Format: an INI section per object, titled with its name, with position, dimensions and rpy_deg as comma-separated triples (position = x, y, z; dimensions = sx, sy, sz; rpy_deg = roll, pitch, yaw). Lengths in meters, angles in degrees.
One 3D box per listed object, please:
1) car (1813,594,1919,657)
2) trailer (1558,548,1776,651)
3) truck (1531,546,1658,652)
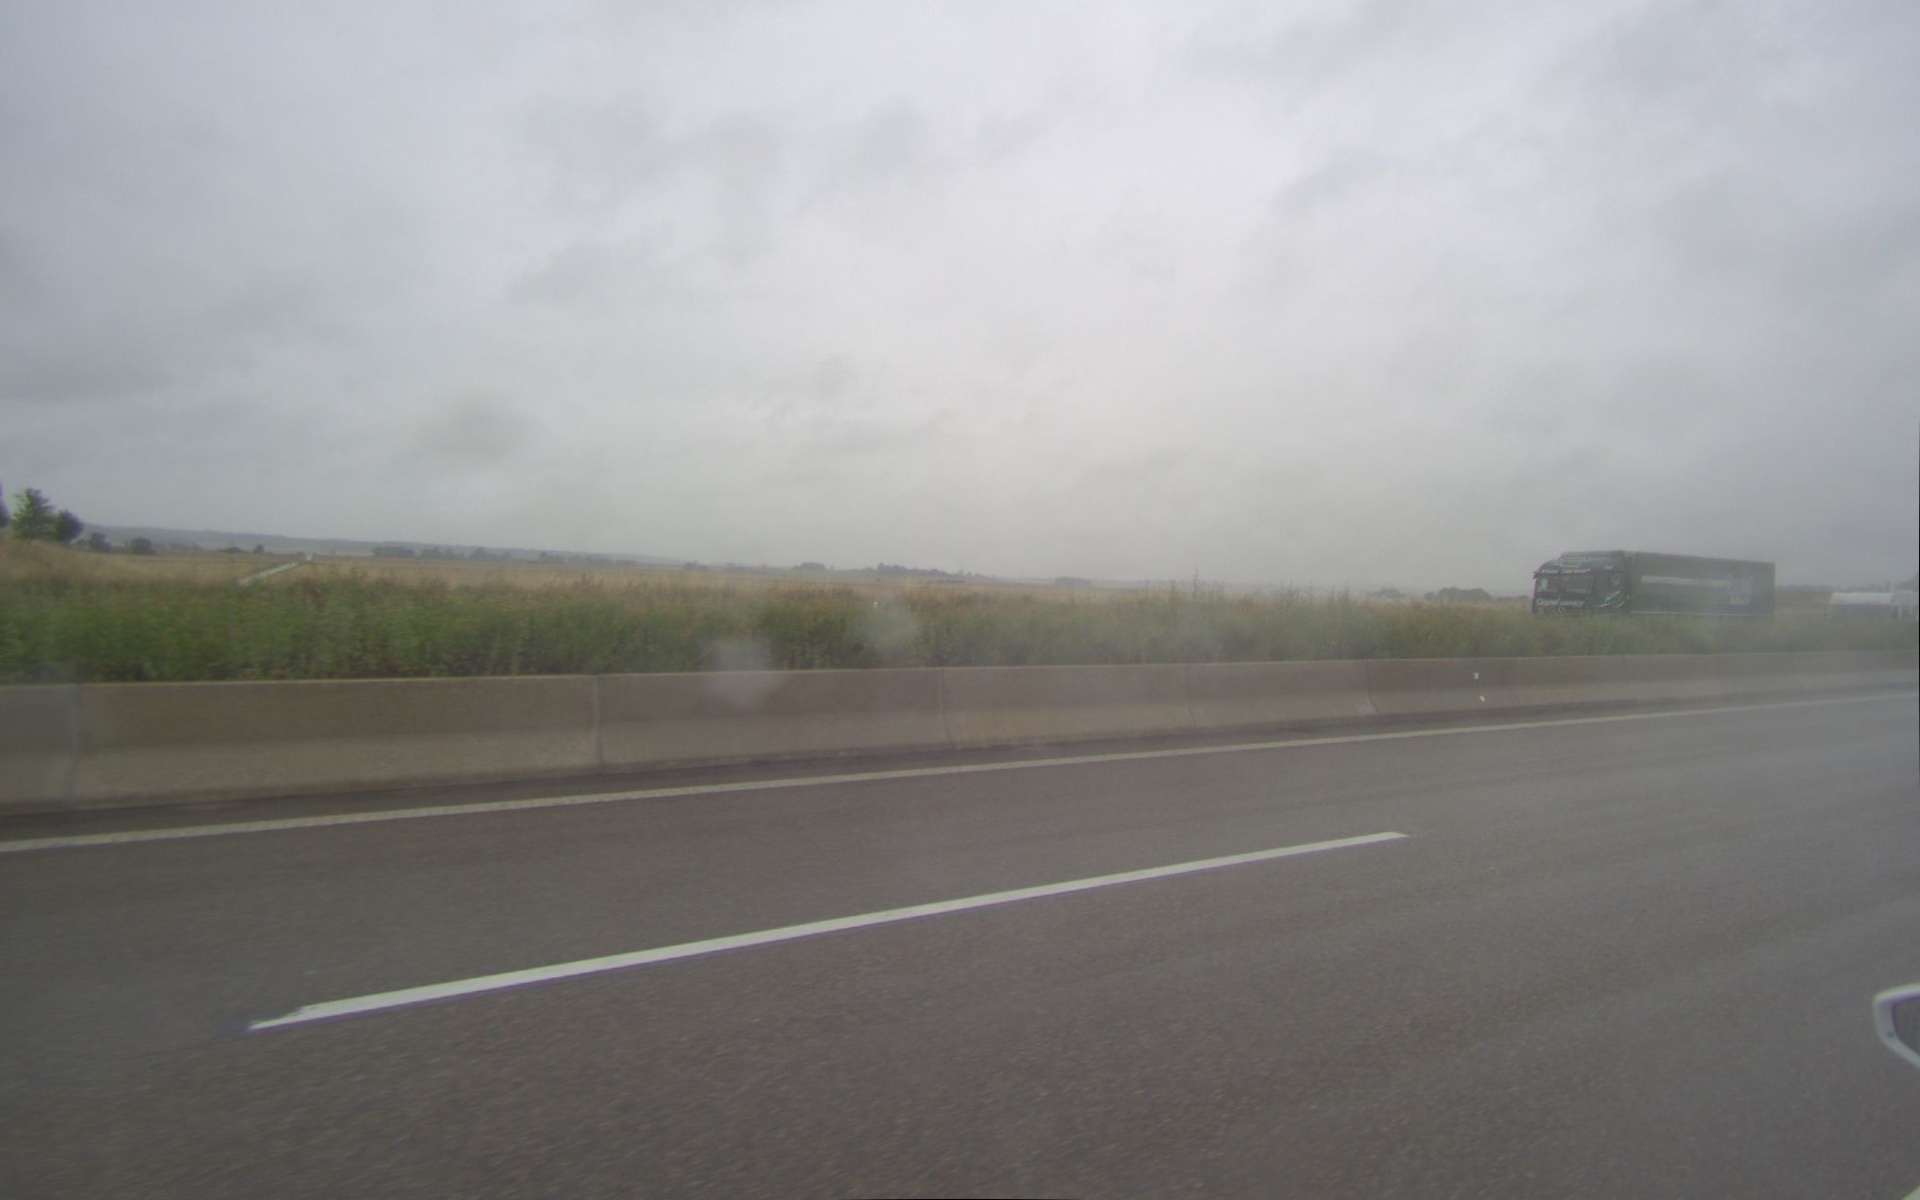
[car]
position = 42.686, 1.199, 47.074
dimensions = 6.141, 2.742, 2.482
rpy_deg = 1, 0, -34
[trailer]
position = 31.300, 0.118, 44.070
dimensions = 14.042, 4.050, 2.213
rpy_deg = 1, 0, -31
[truck]
position = 25.746, -0.008, 40.732
dimensions = 5.124, 4.037, 2.202
rpy_deg = 1, 1, -31
